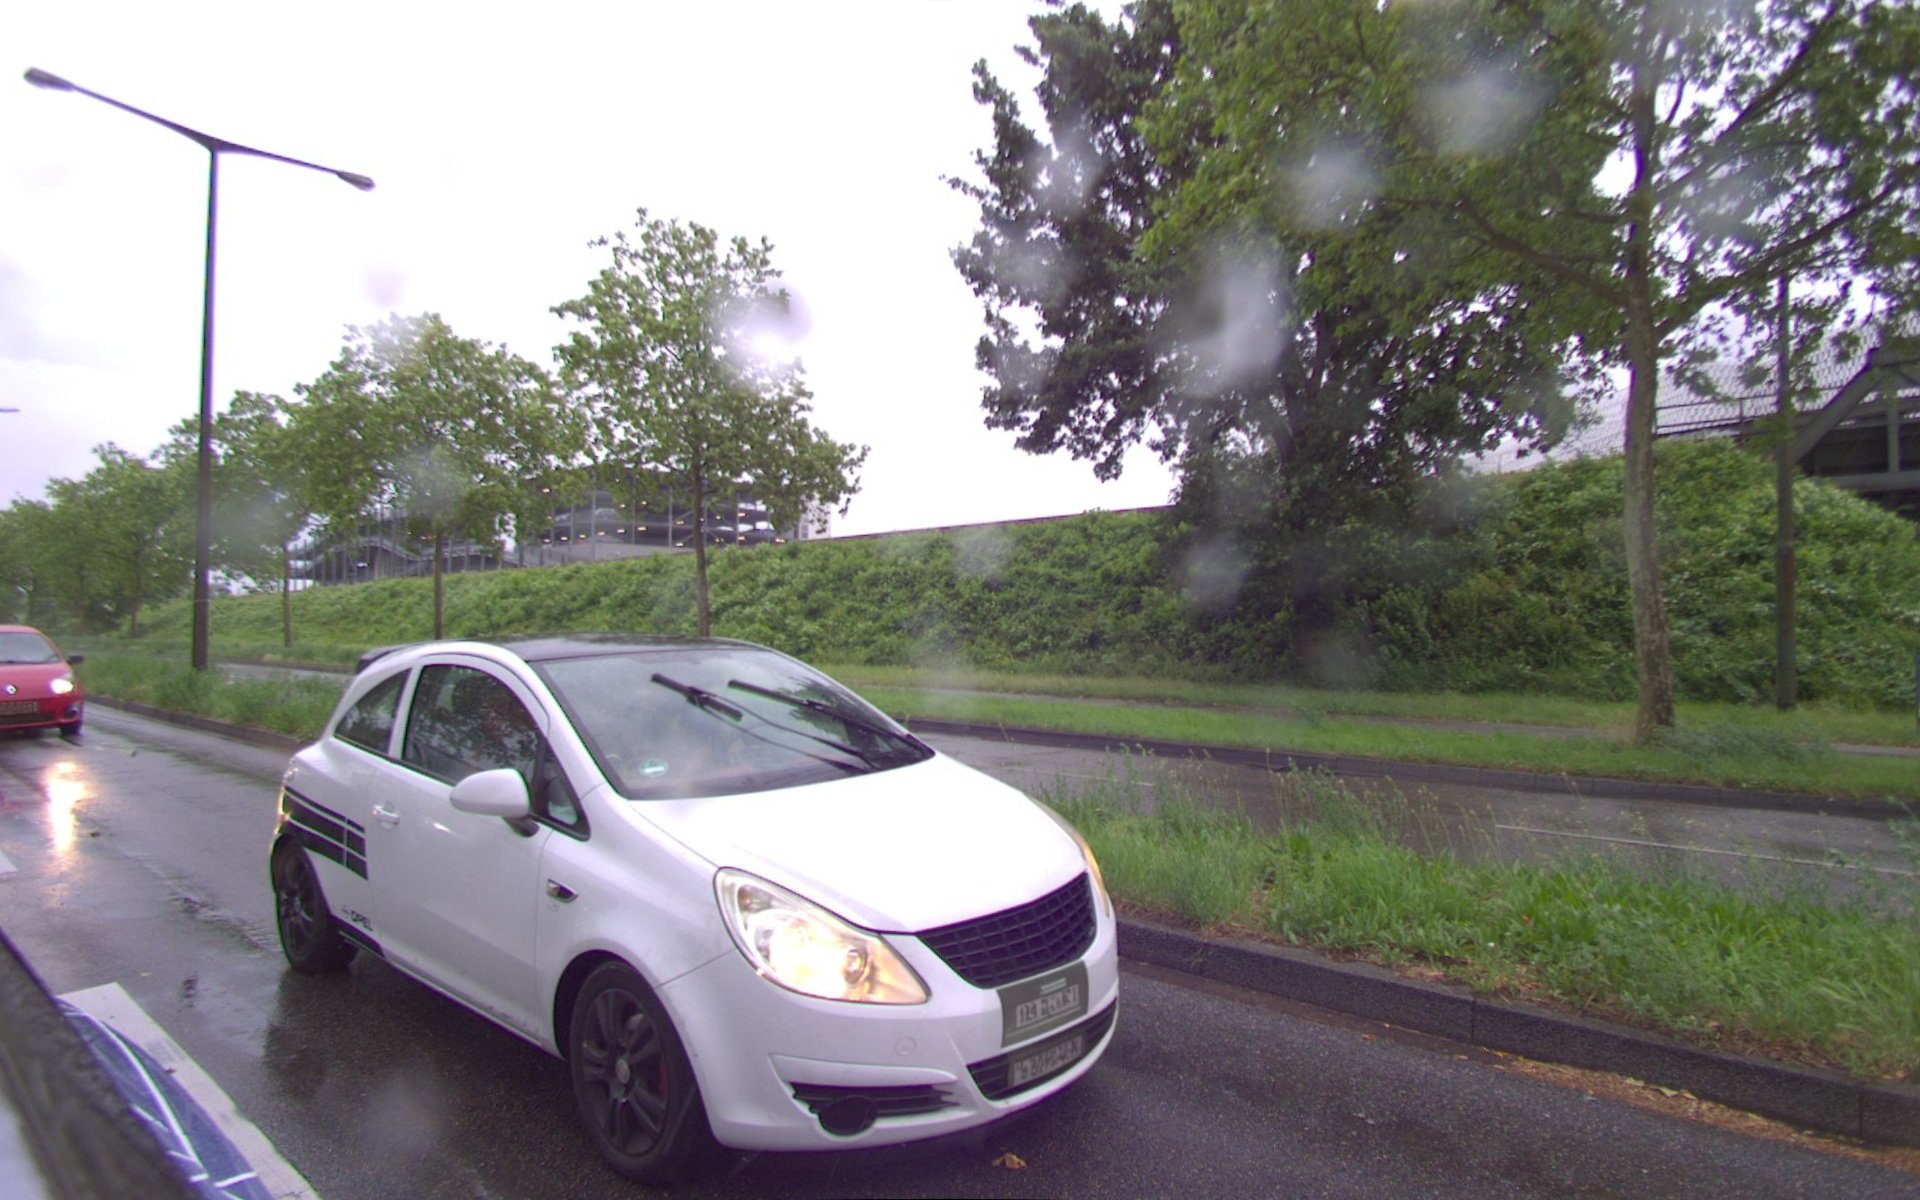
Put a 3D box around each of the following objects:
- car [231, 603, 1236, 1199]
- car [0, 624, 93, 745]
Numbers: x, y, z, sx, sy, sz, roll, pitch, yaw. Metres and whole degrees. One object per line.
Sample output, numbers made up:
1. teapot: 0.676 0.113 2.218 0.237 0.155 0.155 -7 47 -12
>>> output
1. car: -1.188 0.756 3.892 4.007 1.387 1.662 -2 -1 40
2. car: -13.475 1.108 13.878 4.088 1.476 1.702 -2 -1 39
